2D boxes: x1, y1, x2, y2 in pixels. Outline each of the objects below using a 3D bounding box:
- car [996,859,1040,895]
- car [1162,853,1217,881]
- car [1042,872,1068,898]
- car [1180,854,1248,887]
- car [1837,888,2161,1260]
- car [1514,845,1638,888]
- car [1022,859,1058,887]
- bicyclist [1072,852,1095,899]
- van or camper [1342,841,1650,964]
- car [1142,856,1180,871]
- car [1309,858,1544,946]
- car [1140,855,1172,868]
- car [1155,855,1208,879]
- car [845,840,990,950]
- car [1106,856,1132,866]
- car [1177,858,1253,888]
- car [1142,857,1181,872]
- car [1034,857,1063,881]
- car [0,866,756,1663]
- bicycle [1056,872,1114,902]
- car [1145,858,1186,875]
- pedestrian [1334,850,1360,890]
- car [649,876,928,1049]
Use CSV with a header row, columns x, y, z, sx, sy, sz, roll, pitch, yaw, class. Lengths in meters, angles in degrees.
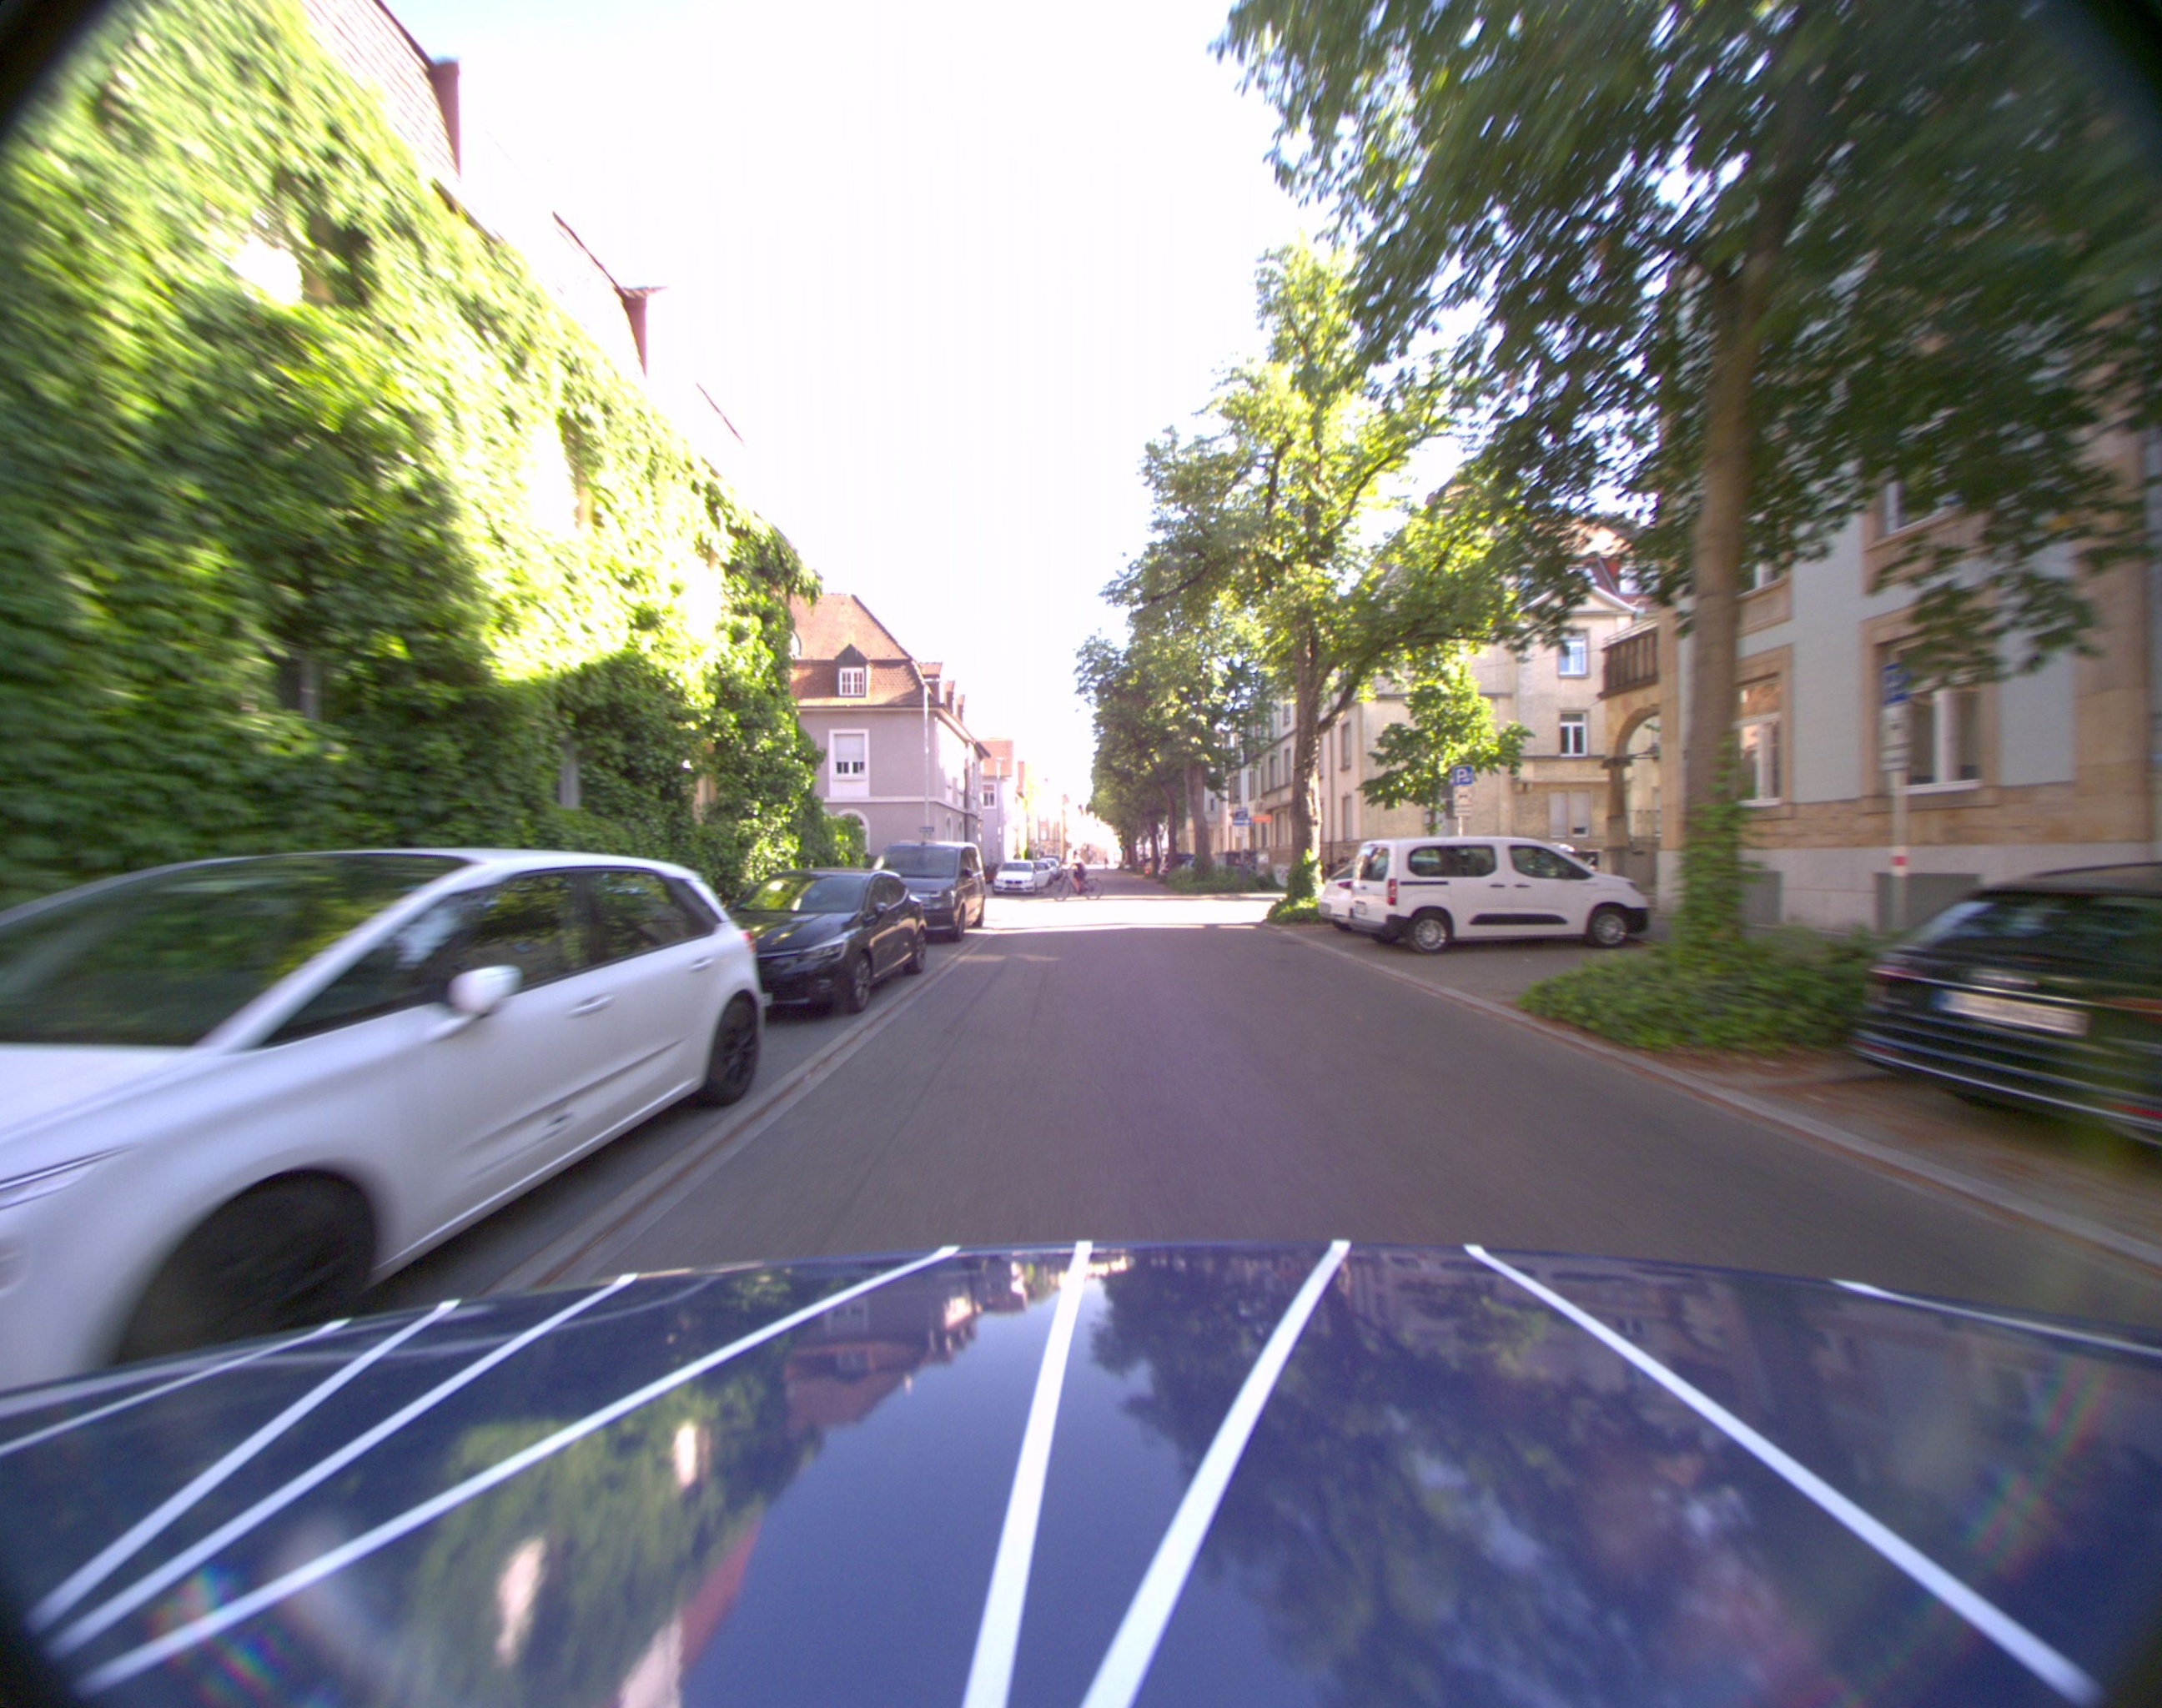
x,y,z,sx,sy,sz,roll,pitch,yaw,class
-2.846,1.007,34.937,1.814,1.546,4.105,-1,0,-2,car
7.358,0.878,51.831,3.496,1.882,1.821,-1,0,0,car
-2.232,2.683,66.570,1.998,1.904,3.999,-3,1,1,car
8.297,1.018,47.324,3.993,1.752,2.002,-2,1,14,car
6.400,0.879,3.473,4.150,1.392,1.710,-2,0,0,car
18.021,0.384,27.943,1.869,1.433,4.281,0,1,2,car
-2.487,1.134,46.715,1.822,1.530,4.161,-3,0,1,car
0.087,0.712,25.663,0.737,1.562,0.755,-1,1,-1,bicyclist
6.523,0.737,12.284,3.954,1.763,1.809,-1,-1,0,van or camper
7.686,0.914,73.170,3.496,1.420,1.542,0,0,0,car
6.509,0.873,14.600,3.734,1.507,1.722,-1,0,-1,car
8.443,0.880,85.802,3.496,1.420,1.542,0,0,0,car
7.091,0.913,53.826,3.496,1.681,1.682,-1,0,0,car
-3.103,0.705,15.507,1.857,1.898,4.851,0,0,1,car
5.366,1.024,107.142,3.496,1.420,1.542,0,0,0,car
7.397,1.031,42.145,3.995,1.424,1.804,-3,1,8,car
7.489,0.987,71.070,3.496,1.420,1.542,0,0,0,car
-2.422,1.086,57.863,1.822,1.634,4.161,-3,0,1,car
-3.216,0.905,3.142,1.872,1.635,4.199,0,0,1,car
0.143,1.119,25.674,1.920,0.981,0.595,-1,0,0,bicycle
7.445,1.071,67.078,3.496,1.420,1.542,0,0,0,car
10.790,0.650,30.858,0.667,1.598,0.979,-1,0,0,pedestrian
-3.000,1.019,8.749,1.641,1.413,4.008,0,0,0,car
